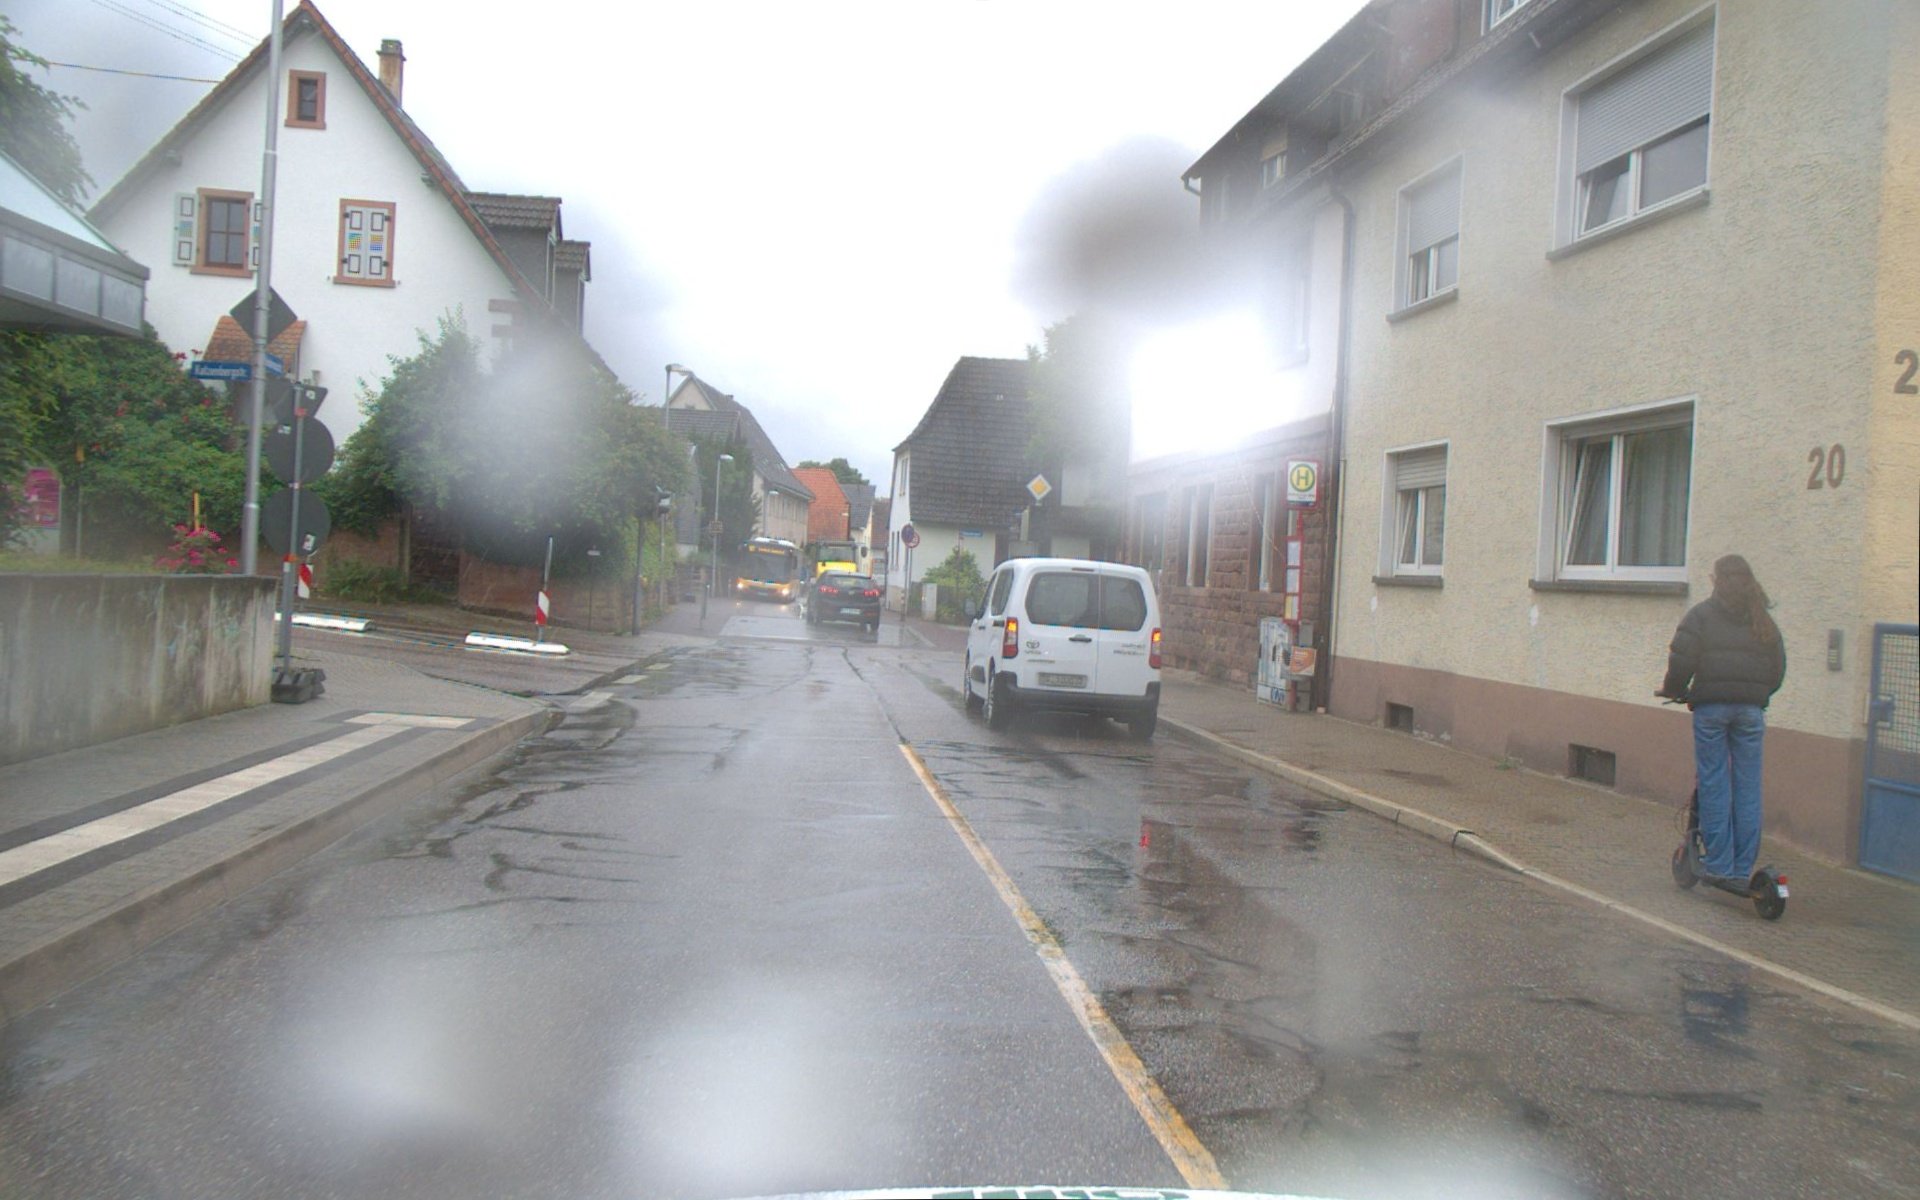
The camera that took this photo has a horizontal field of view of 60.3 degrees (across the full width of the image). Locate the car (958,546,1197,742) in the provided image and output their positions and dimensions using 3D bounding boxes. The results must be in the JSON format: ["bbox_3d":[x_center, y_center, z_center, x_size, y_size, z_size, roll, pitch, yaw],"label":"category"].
[{"bbox_3d":[1.178,0.405,18.402,1.858,1.824,3.808,4,1,-7],"label":"car"}]

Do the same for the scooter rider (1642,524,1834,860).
[{"bbox_3d":[4.269,0.493,9.100,0.716,1.763,0.517,3,0,-5],"label":"scooter rider"}]

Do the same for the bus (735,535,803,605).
[{"bbox_3d":[-9.519,-1.652,83.476,2.598,3.051,12.186,4,2,-4],"label":"bus"}]

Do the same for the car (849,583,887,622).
[{"bbox_3d":[-4.919,0.116,88.947,1.857,1.982,3.999,1,0,-1],"label":"car"}]

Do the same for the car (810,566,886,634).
[{"bbox_3d":[-3.044,-0.039,44.450,1.775,1.624,3.751,4,1,-7],"label":"car"}]

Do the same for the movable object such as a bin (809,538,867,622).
[{"bbox_3d":[-4.321,-0.711,57.945,1.694,2.698,3.969,4,1,-6],"label":"movable object such as a bin"}]

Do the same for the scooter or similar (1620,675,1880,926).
[{"bbox_3d":[4.273,1.047,9.054,0.608,1.146,1.401,3,1,-5],"label":"scooter or similar"}]

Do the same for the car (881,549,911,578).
[{"bbox_3d":[-4.339,-2.443,112.026,1.813,1.825,4.000,1,0,0],"label":"car"}]

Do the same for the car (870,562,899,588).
[{"bbox_3d":[-6.242,-2.024,136.982,1.952,2.049,4.002,2,0,4],"label":"car"}]
